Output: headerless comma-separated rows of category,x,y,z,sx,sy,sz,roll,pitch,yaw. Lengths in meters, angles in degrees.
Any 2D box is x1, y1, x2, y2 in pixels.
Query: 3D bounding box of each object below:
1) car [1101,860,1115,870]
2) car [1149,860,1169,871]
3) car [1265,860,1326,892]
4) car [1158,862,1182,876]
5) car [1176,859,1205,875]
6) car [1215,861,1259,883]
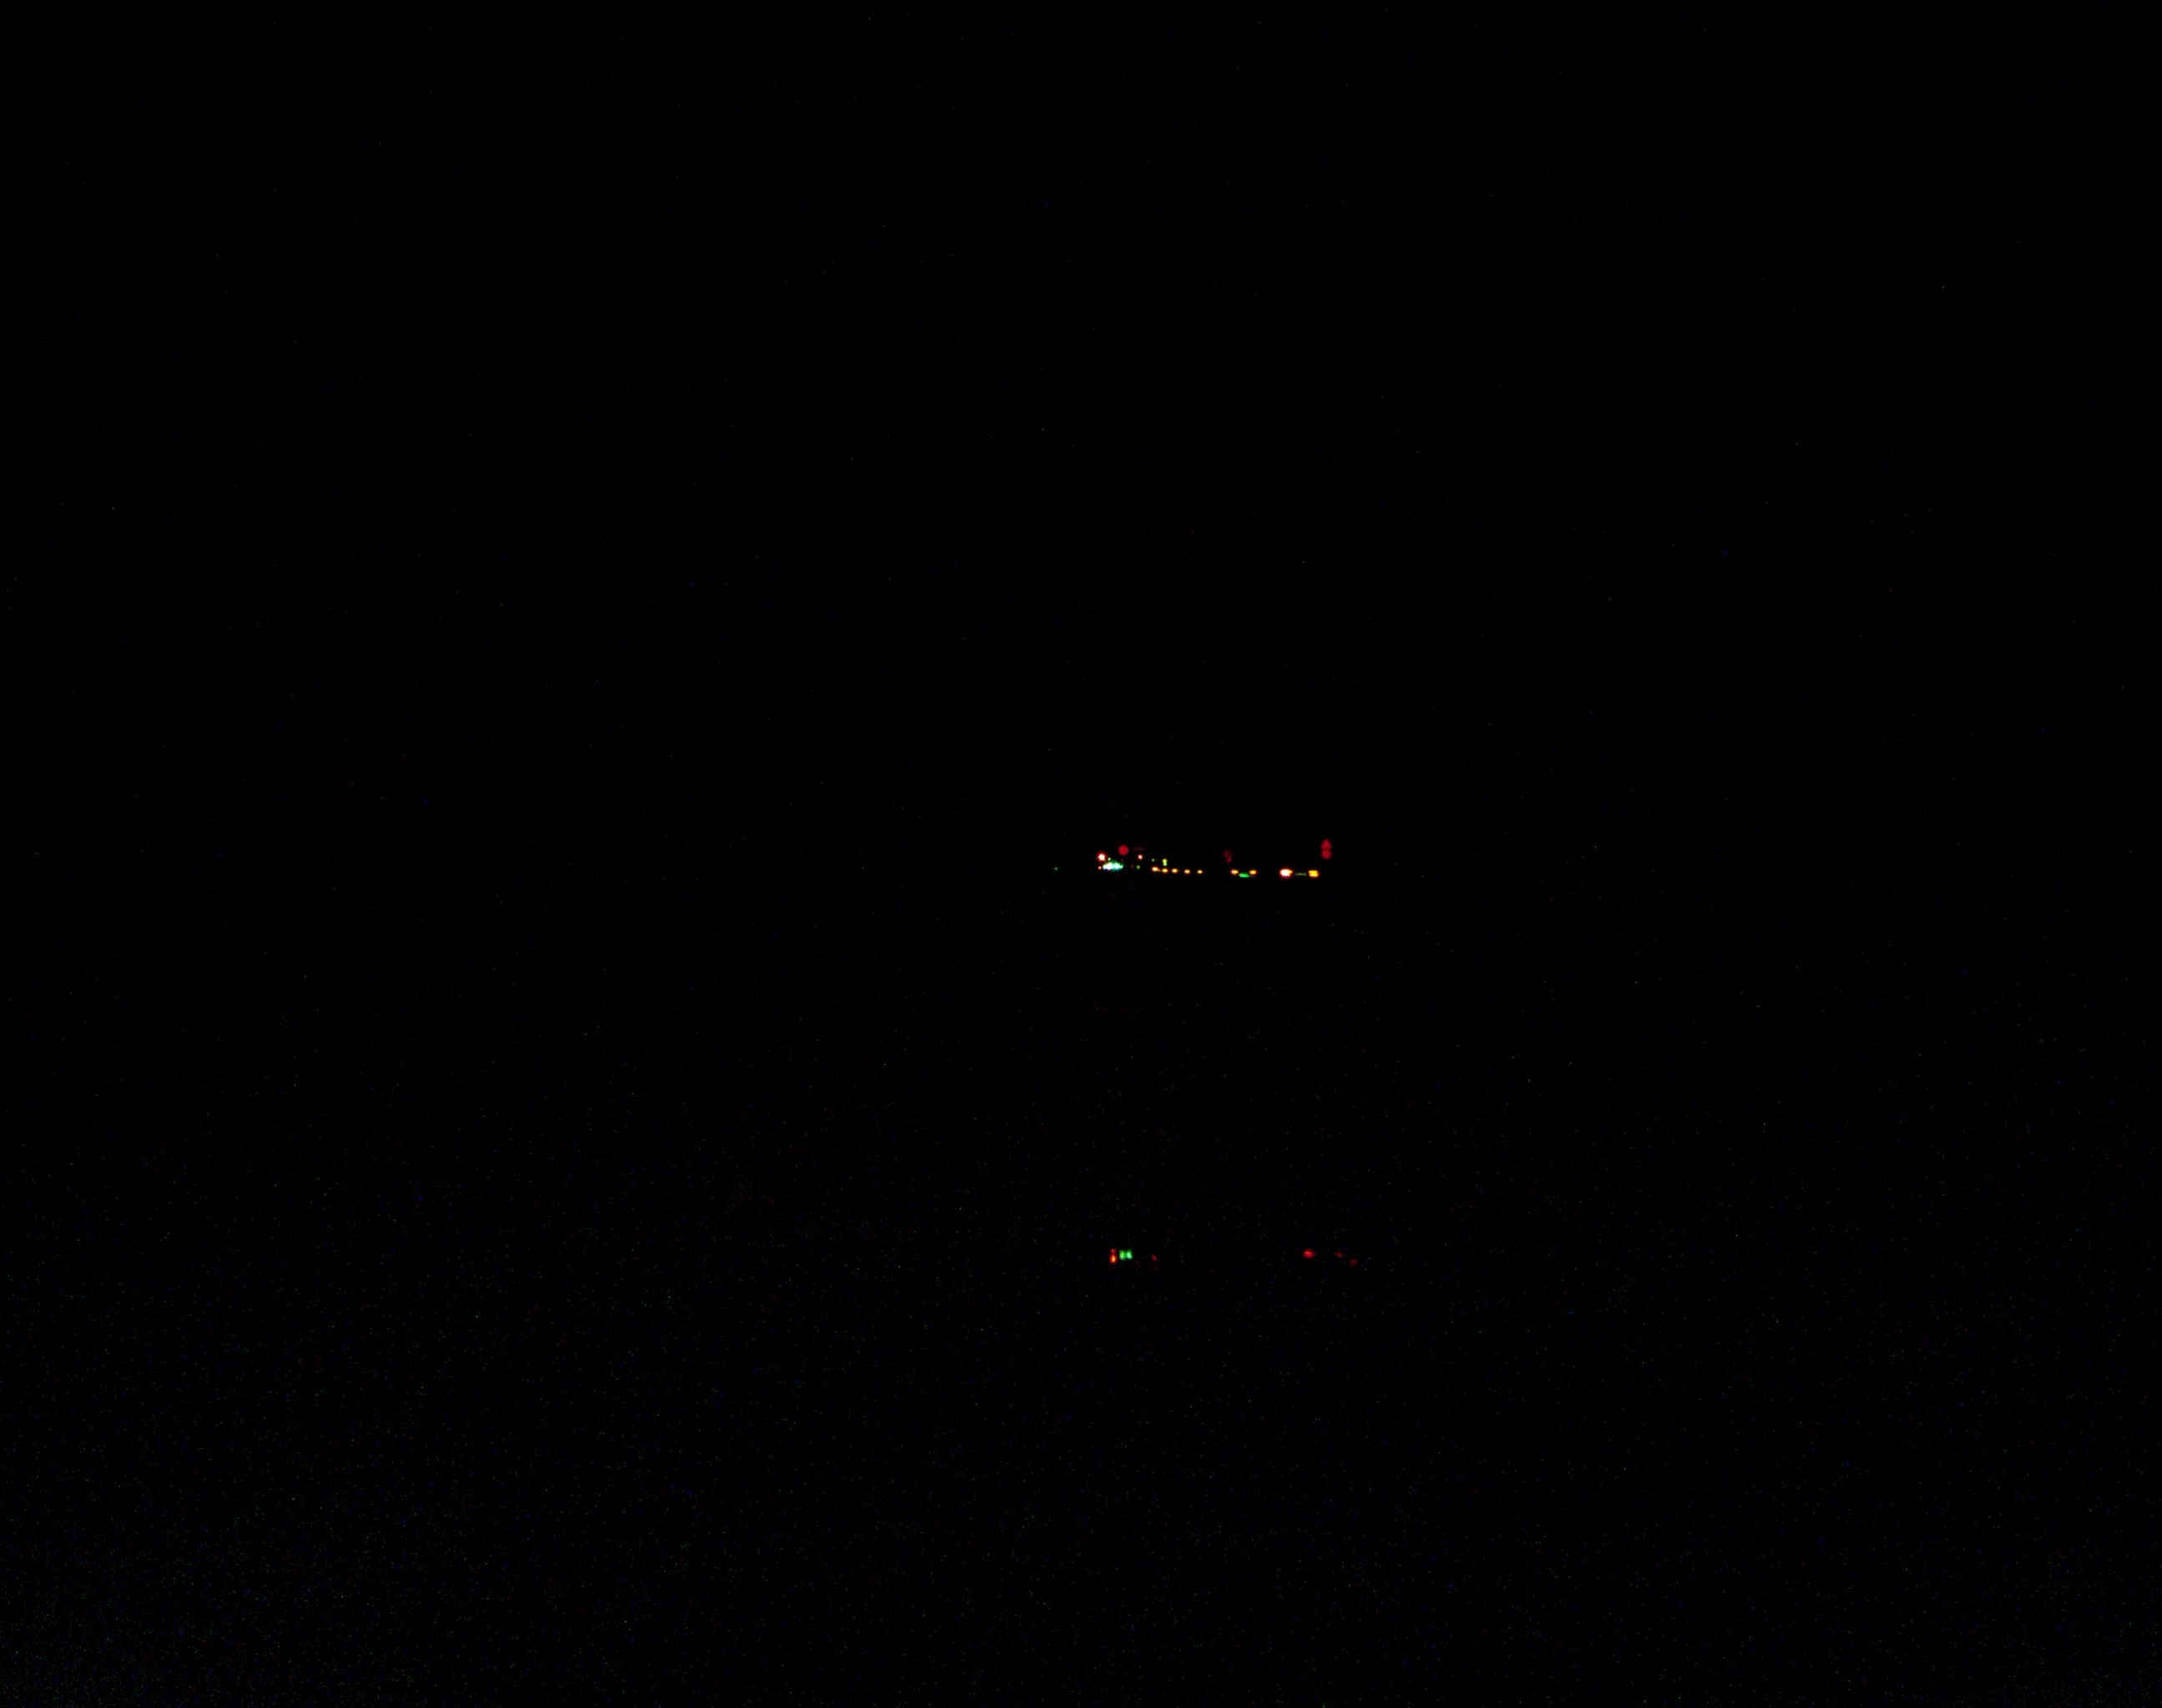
car,4.001,1.601,113.253,1.931,1.510,4.000,0,0,0
car,11.291,1.674,110.090,2.127,1.544,4.697,0,0,-3
car,11.785,1.160,42.123,2.127,1.621,4.699,0,0,1
car,10.763,1.792,92.617,2.127,1.544,4.697,0,0,-3
car,11.413,1.333,79.586,2.127,1.544,4.697,0,0,-3
car,11.731,1.343,57.321,2.127,1.544,4.697,0,0,-3
